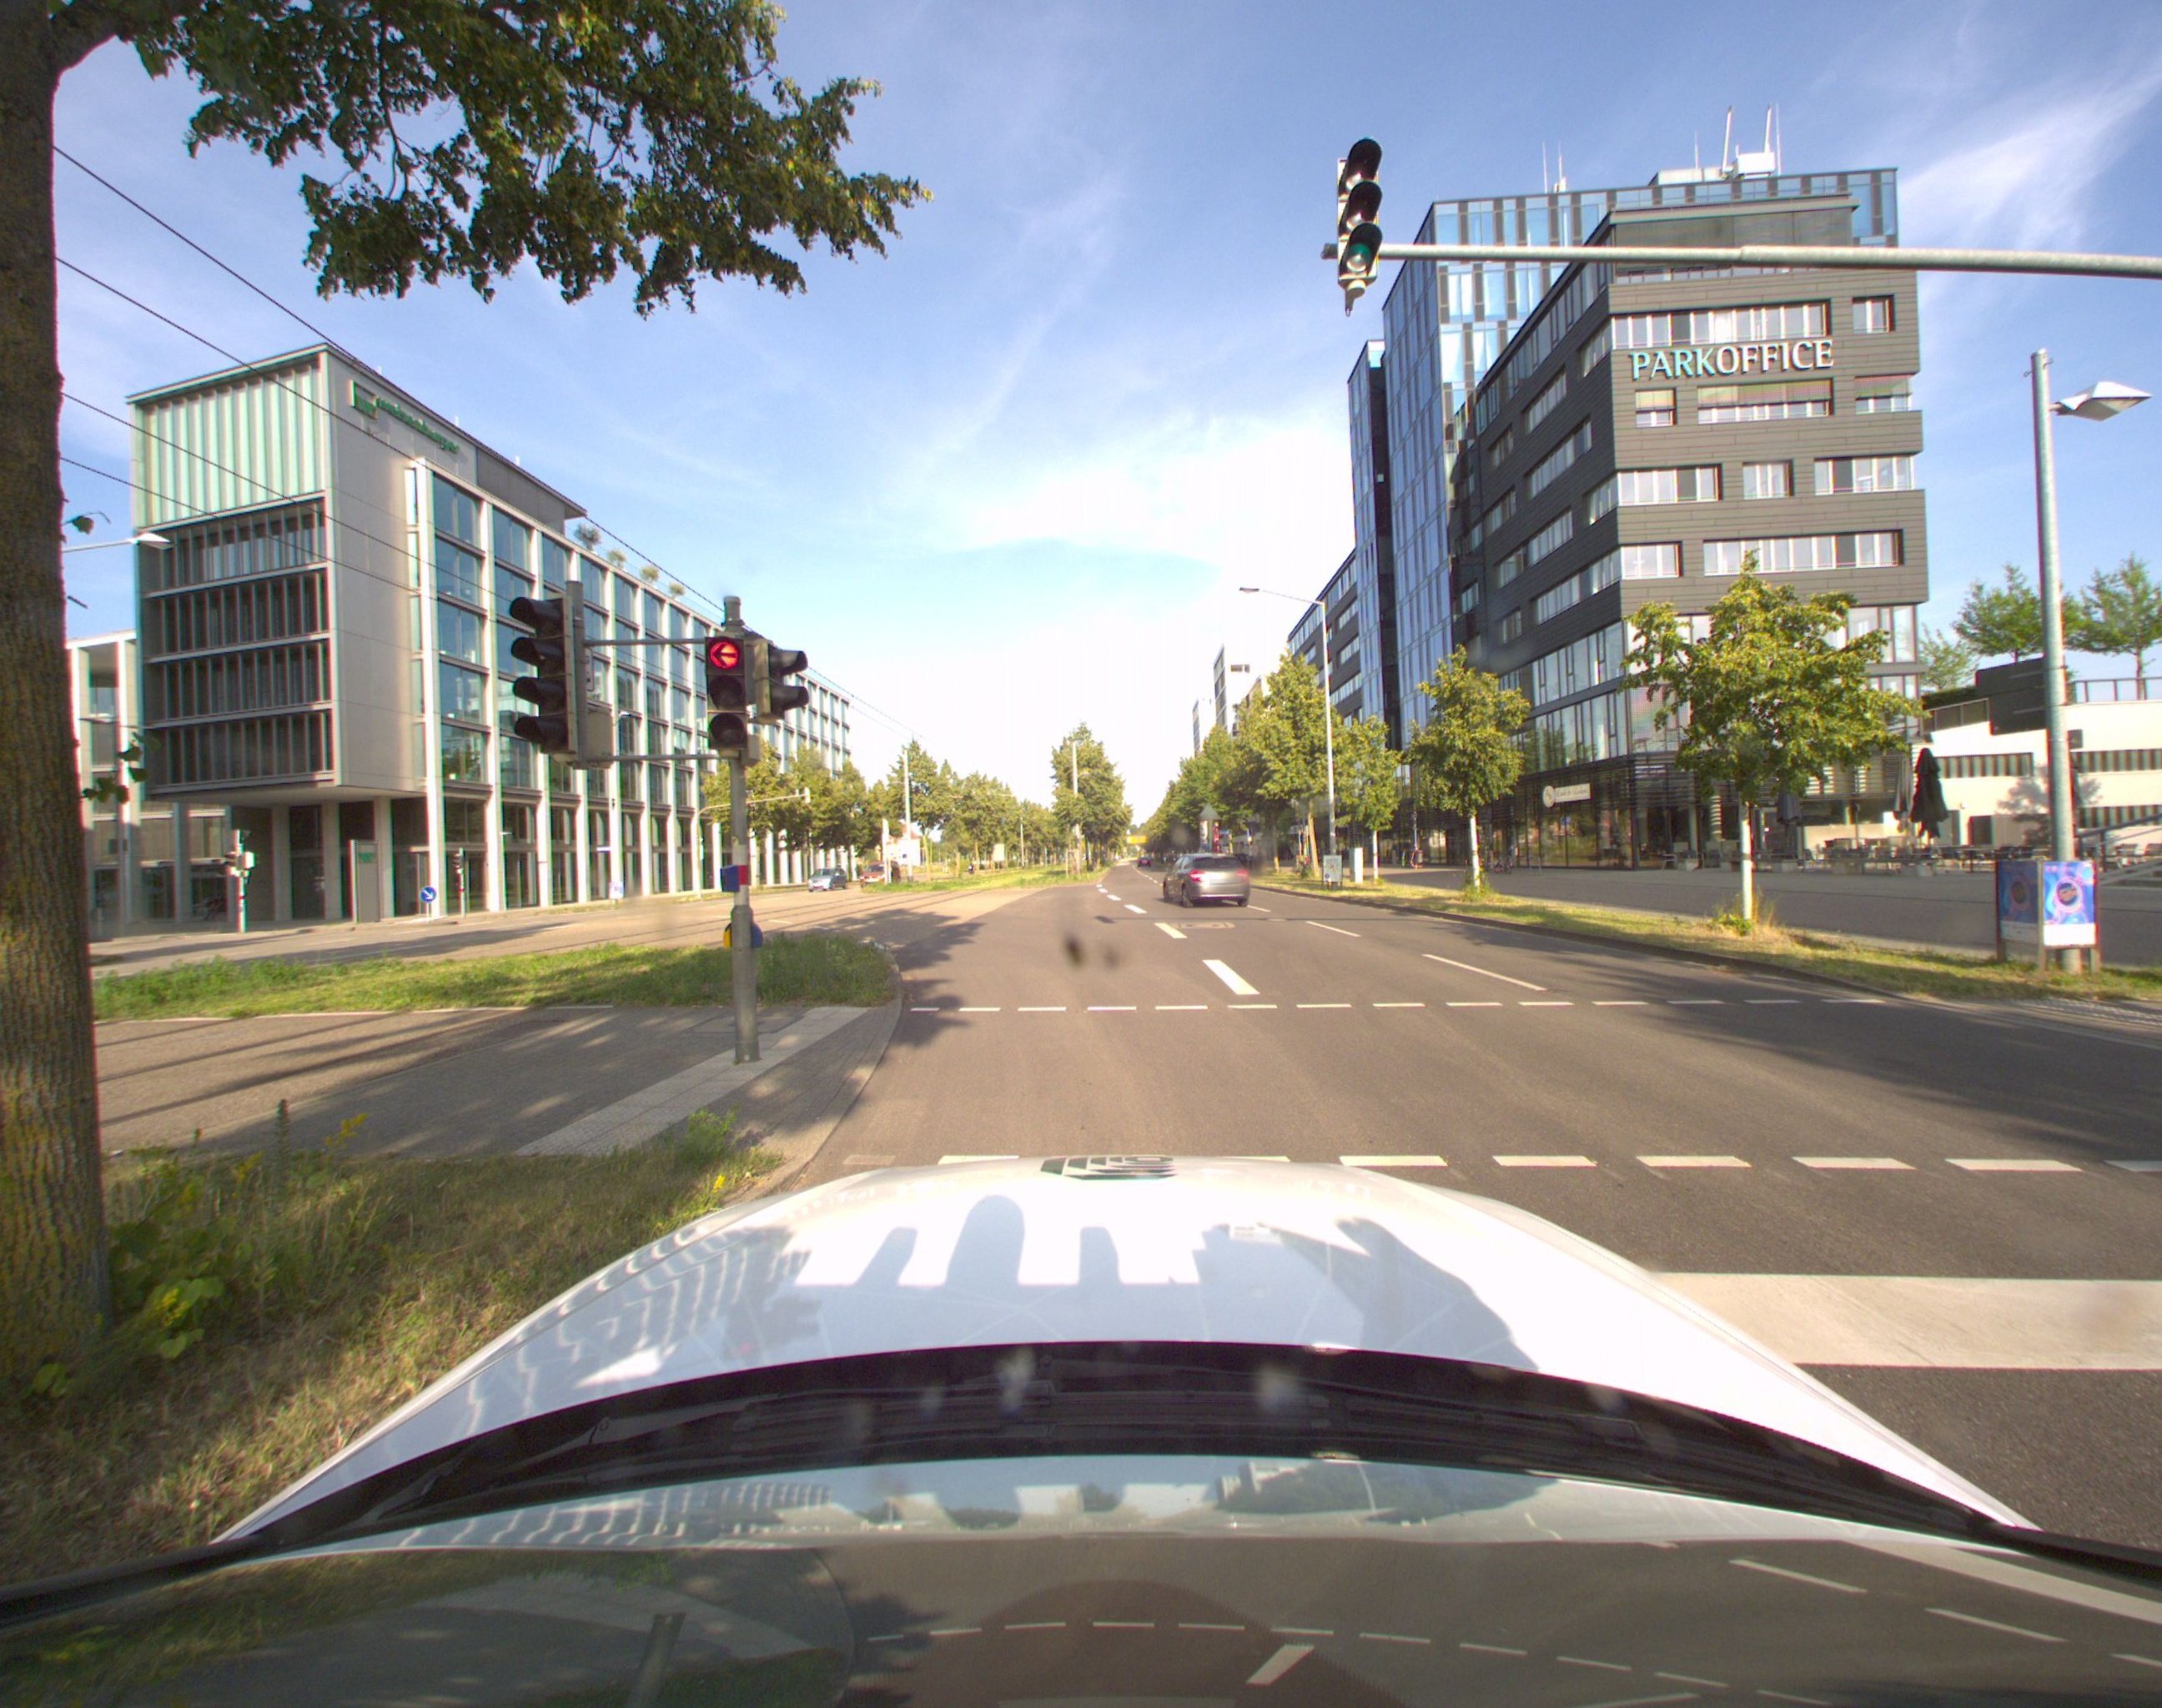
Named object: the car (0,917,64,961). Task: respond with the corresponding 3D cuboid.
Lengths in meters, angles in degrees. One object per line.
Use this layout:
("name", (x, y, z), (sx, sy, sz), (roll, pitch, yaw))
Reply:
("car", (-40.456, 3.150, 30.482), (3.477, 1.424, 1.581), (0, -1, 12))

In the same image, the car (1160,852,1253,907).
("car", (3.464, 0.685, 23.187), (1.692, 1.424, 4.031), (0, -1, -6))

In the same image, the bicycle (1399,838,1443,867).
("bicycle", (22.179, -0.118, 53.182), (2.547, 1.857, 0.571), (-1, -1, 12))

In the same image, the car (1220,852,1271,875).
("car", (10.684, 0.621, 52.599), (1.757, 1.424, 3.986), (-1, -1, 35))

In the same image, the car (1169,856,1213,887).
("car", (5.353, 0.805, 39.992), (1.556, 1.424, 3.905), (0, 0, -1))

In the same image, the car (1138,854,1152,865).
("car", (9.053, 0.826, 115.219), (1.852, 1.524, 3.788), (0, -1, 3))

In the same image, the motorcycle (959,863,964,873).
("motorcycle", (-18.877, 2.253, 128.295), (0.472, 1.531, 1.993), (0, -1, 2))

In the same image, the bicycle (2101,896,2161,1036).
("bicycle", (9.017, 0.828, 6.111), (2.129, 1.013, 0.571), (0, -1, -4))

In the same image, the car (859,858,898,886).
("car", (-13.609, 1.181, 54.993), (1.679, 1.775, 3.881), (0, -1, -1))

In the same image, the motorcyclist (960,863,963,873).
("motorcyclist", (-18.869, 2.244, 128.401), (0.484, 1.564, 0.455), (0, -1, 1))

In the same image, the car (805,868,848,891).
("car", (-17.065, 1.716, 54.763), (1.633, 1.443, 3.955), (0, -1, -1))

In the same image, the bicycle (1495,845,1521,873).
("bicycle", (20.625, 0.247, 39.343), (0.371, 1.346, 1.896), (0, -1, 4))

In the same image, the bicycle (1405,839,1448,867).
("bicycle", (22.110, -0.040, 52.134), (2.418, 1.746, 0.556), (-1, -1, 12))
